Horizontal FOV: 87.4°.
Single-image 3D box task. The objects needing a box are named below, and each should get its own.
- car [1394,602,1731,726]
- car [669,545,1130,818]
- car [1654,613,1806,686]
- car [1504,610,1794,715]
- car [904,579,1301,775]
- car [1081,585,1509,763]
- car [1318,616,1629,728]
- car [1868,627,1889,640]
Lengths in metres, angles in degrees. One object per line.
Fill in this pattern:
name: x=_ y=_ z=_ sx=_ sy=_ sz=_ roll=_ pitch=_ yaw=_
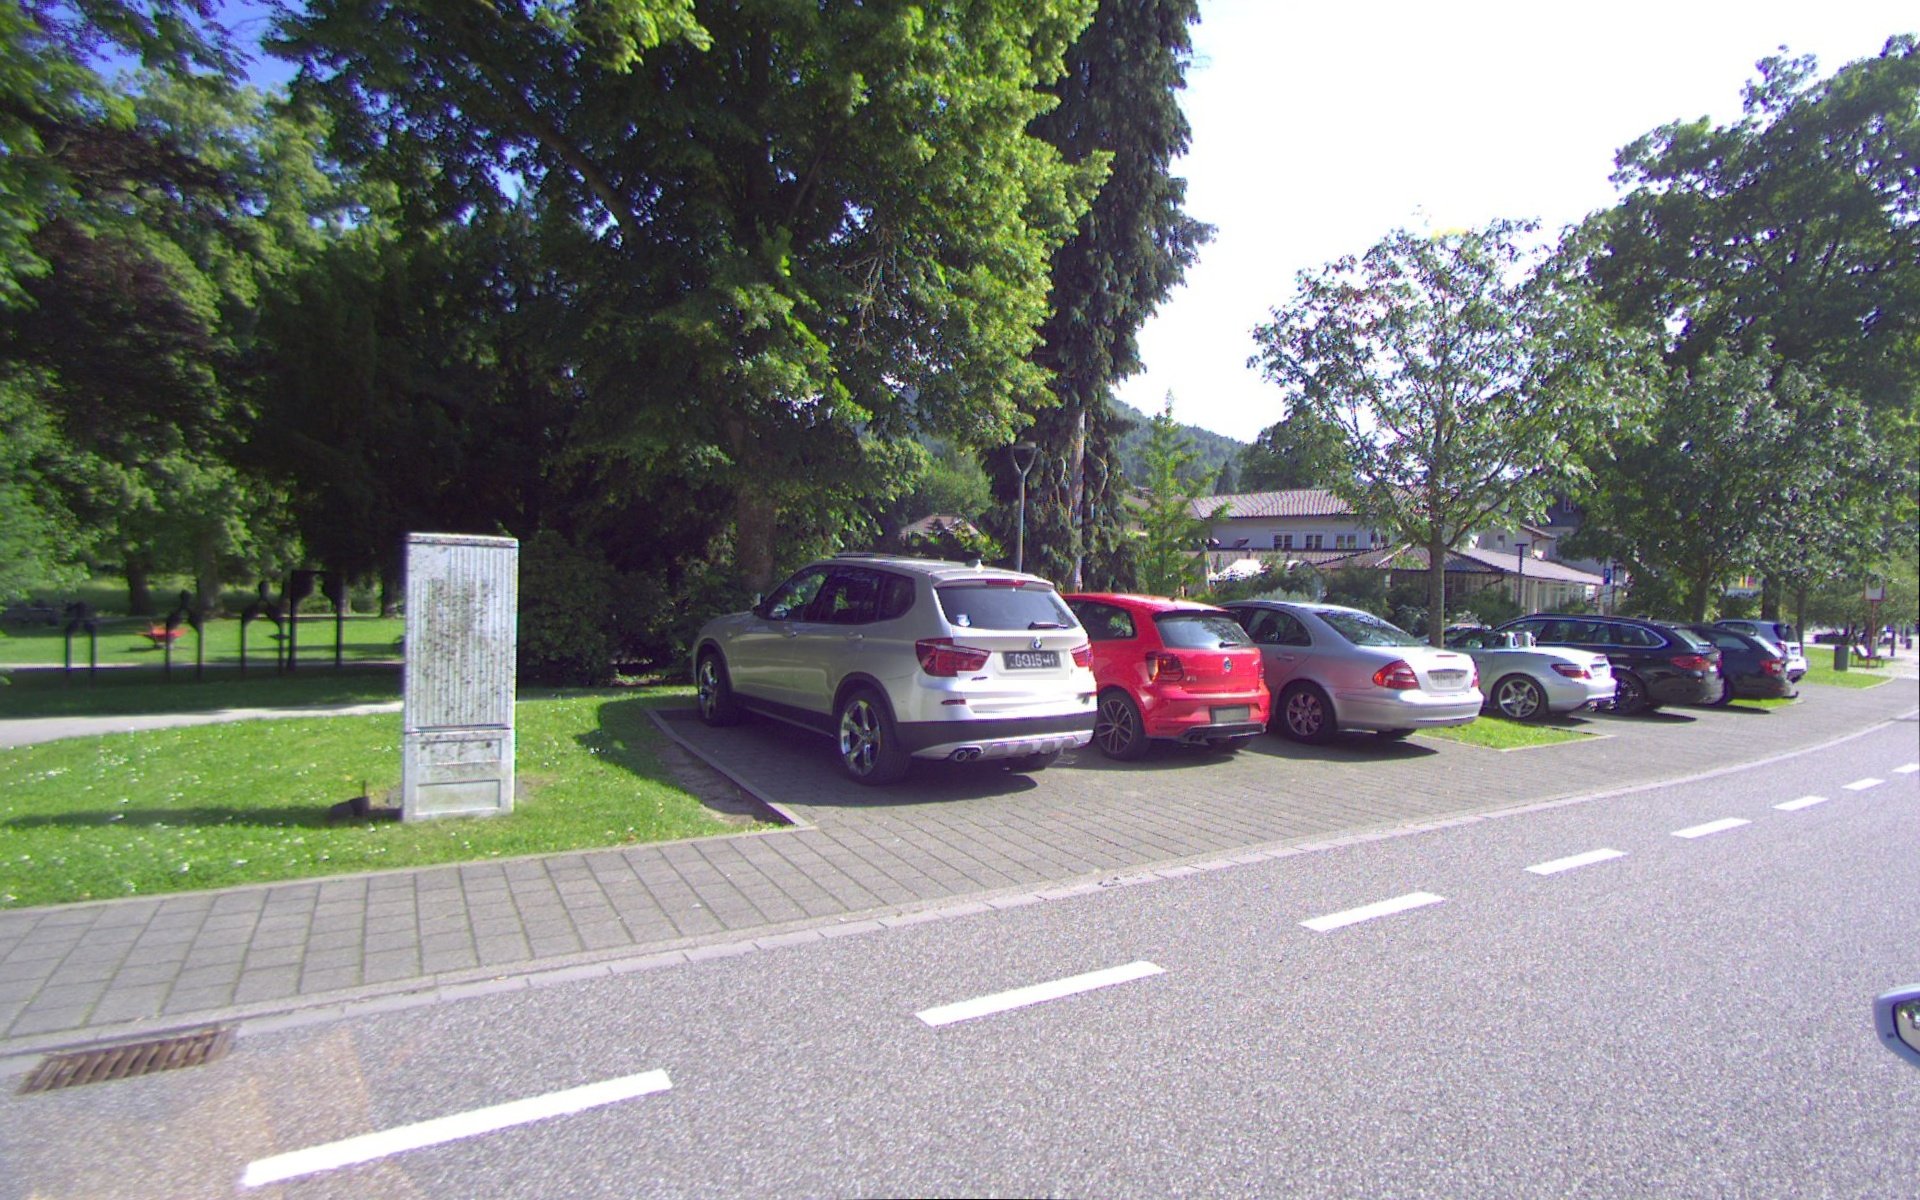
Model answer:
car: x=9.825 y=0.948 z=16.701 sx=1.700 sy=1.530 sz=4.453 roll=2 pitch=2 yaw=-41
car: x=-0.812 y=0.472 z=8.872 sx=1.794 sy=1.685 sz=4.447 roll=3 pitch=2 yaw=-38
car: x=19.709 y=1.242 z=25.770 sx=1.666 sy=1.567 sz=2.633 roll=2 pitch=2 yaw=-35
car: x=12.813 y=1.080 z=18.861 sx=4.229 sy=1.451 sz=1.703 roll=5 pitch=2 yaw=44
car: x=1.274 y=0.633 z=10.435 sx=1.705 sy=1.451 sz=3.955 roll=2 pitch=2 yaw=-38
car: x=3.670 y=0.705 z=11.770 sx=1.794 sy=1.436 sz=4.447 roll=3 pitch=2 yaw=-38
car: x=7.617 y=0.991 z=15.153 sx=1.749 sy=1.259 sz=3.759 roll=2 pitch=1 yaw=-41
car: x=106.483 y=3.843 z=116.442 sx=1.723 sy=1.482 sz=4.161 roll=0 pitch=-1 yaw=44
